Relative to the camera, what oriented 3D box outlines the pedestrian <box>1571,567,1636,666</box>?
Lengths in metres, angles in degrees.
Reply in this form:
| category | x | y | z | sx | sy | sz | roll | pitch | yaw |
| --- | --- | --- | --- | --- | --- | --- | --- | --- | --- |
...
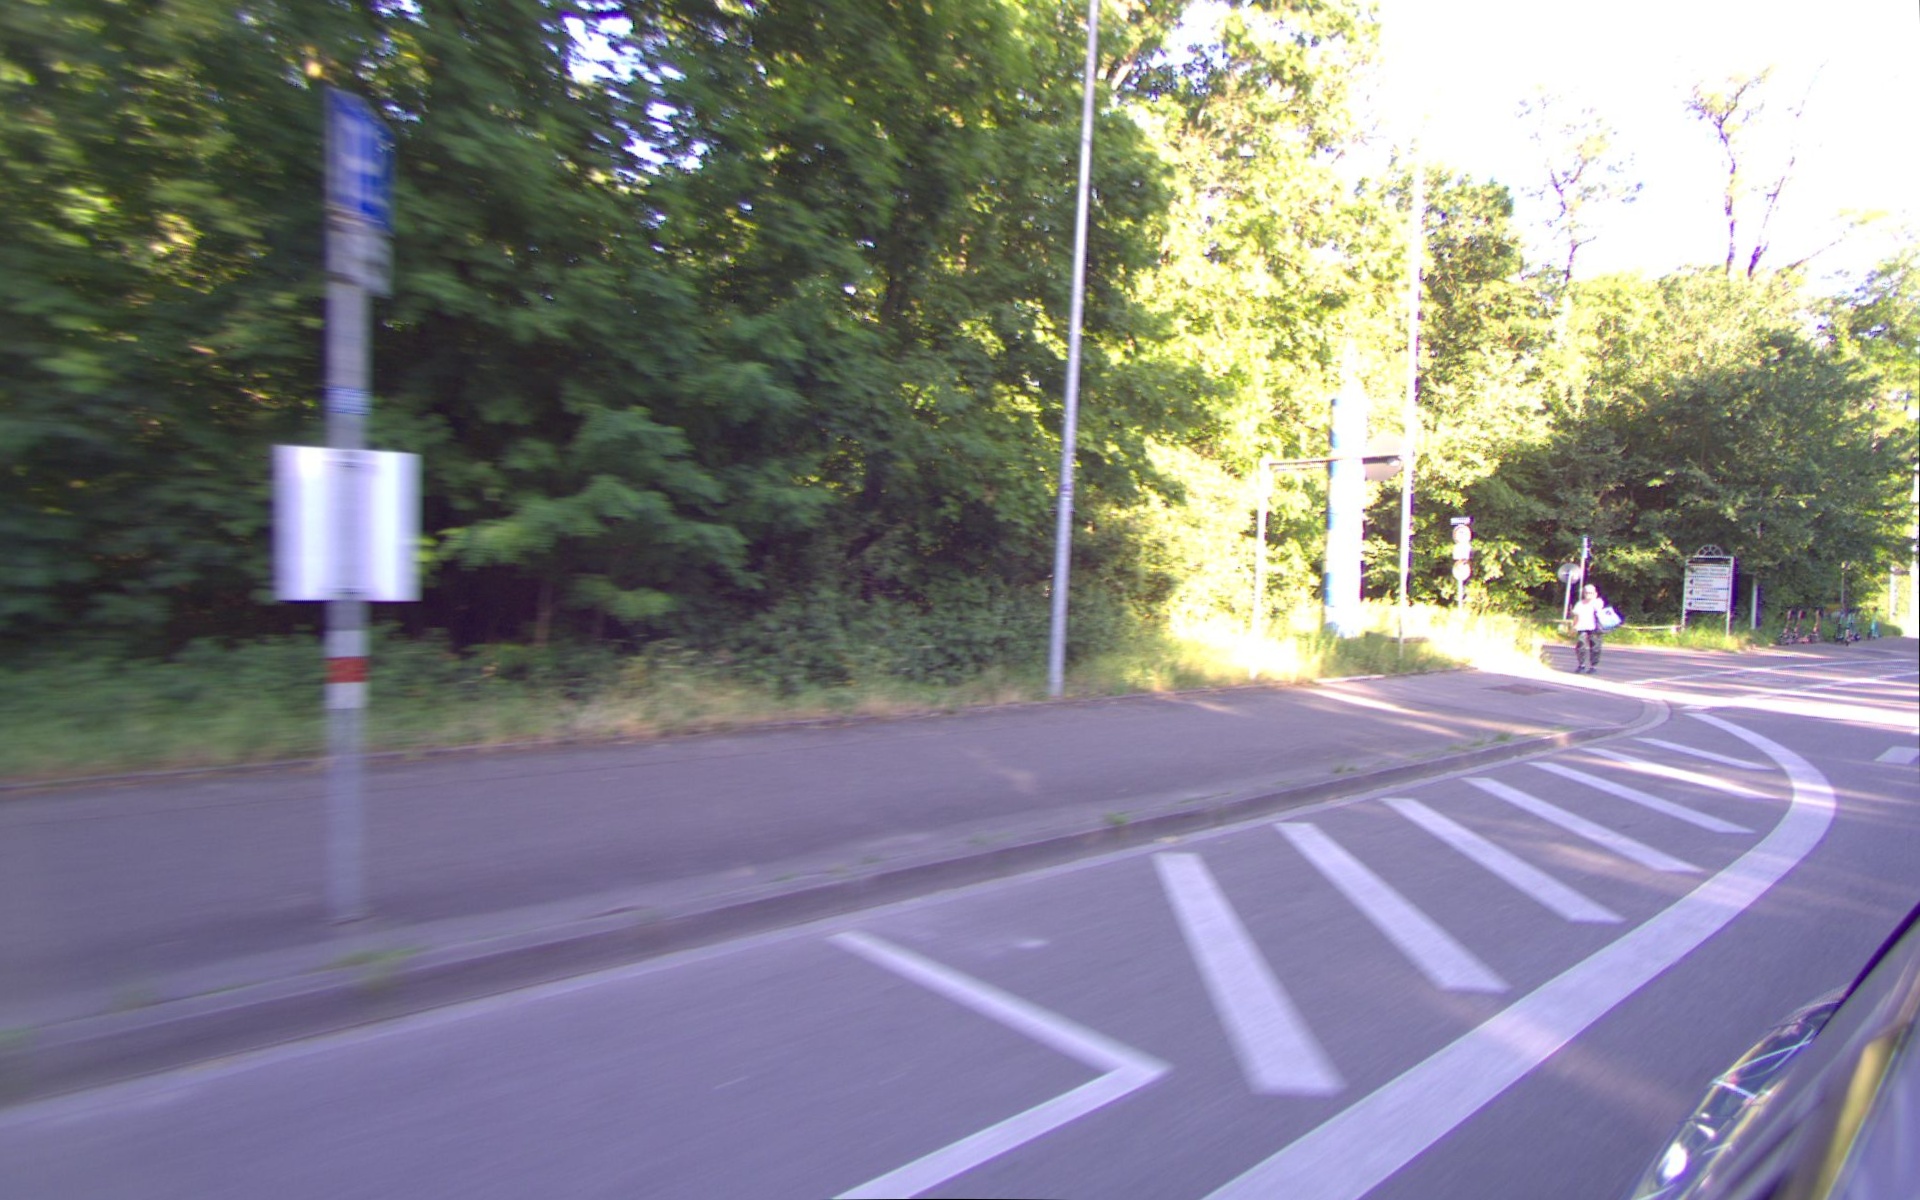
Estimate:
| category | x | y | z | sx | sy | sz | roll | pitch | yaw |
| --- | --- | --- | --- | --- | --- | --- | --- | --- | --- |
| pedestrian | 12.241 | 0.296 | 19.249 | 0.721 | 1.821 | 0.809 | 0 | 2 | -40 |

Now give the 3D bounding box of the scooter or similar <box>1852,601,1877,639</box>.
| category | x | y | z | sx | sy | sz | roll | pitch | yaw |
| --- | --- | --- | --- | --- | --- | --- | --- | --- | --- |
| scooter or similar | 29.318 | 0.651 | 32.799 | 1.084 | 1.199 | 0.386 | 0 | 2 | -40 |

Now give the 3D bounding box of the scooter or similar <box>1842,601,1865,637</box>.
| category | x | y | z | sx | sy | sz | roll | pitch | yaw |
| --- | --- | --- | --- | --- | --- | --- | --- | --- | --- |
| scooter or similar | 30.172 | 0.630 | 34.178 | 1.084 | 1.199 | 0.386 | 0 | 2 | -40 |

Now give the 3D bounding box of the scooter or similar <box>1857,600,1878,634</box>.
| category | x | y | z | sx | sy | sz | roll | pitch | yaw |
| --- | --- | --- | --- | --- | --- | --- | --- | --- | --- |
| scooter or similar | 32.769 | 0.607 | 36.547 | 1.084 | 1.199 | 0.386 | 0 | 2 | -40 |

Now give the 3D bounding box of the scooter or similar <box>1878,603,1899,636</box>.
| category | x | y | z | sx | sy | sz | roll | pitch | yaw |
| --- | --- | --- | --- | --- | --- | --- | --- | --- | --- |
| scooter or similar | 34.434 | 0.702 | 37.542 | 1.084 | 1.199 | 0.386 | 0 | 2 | -40 |

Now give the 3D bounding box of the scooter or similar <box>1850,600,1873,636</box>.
| category | x | y | z | sx | sy | sz | roll | pitch | yaw |
| --- | --- | --- | --- | --- | --- | --- | --- | --- | --- |
| scooter or similar | 31.583 | 0.620 | 35.454 | 1.084 | 1.199 | 0.386 | 0 | 2 | -40 |

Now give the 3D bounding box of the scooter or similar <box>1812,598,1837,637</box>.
| category | x | y | z | sx | sy | sz | roll | pitch | yaw |
| --- | --- | --- | --- | --- | --- | --- | --- | --- | --- |
| scooter or similar | 27.397 | 0.534 | 32.084 | 1.084 | 1.199 | 0.386 | 0 | 2 | -40 |

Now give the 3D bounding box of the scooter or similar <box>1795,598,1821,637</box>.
| category | x | y | z | sx | sy | sz | roll | pitch | yaw |
| --- | --- | --- | --- | --- | --- | --- | --- | --- | --- |
| scooter or similar | 26.377 | 0.539 | 31.472 | 1.084 | 1.199 | 0.386 | 0 | 2 | -40 |

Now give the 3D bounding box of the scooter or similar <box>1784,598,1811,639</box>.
| category | x | y | z | sx | sy | sz | roll | pitch | yaw |
| --- | --- | --- | --- | --- | --- | --- | --- | --- | --- |
| scooter or similar | 25.119 | 0.546 | 30.360 | 1.166 | 1.198 | 0.386 | 0 | 2 | -40 |
